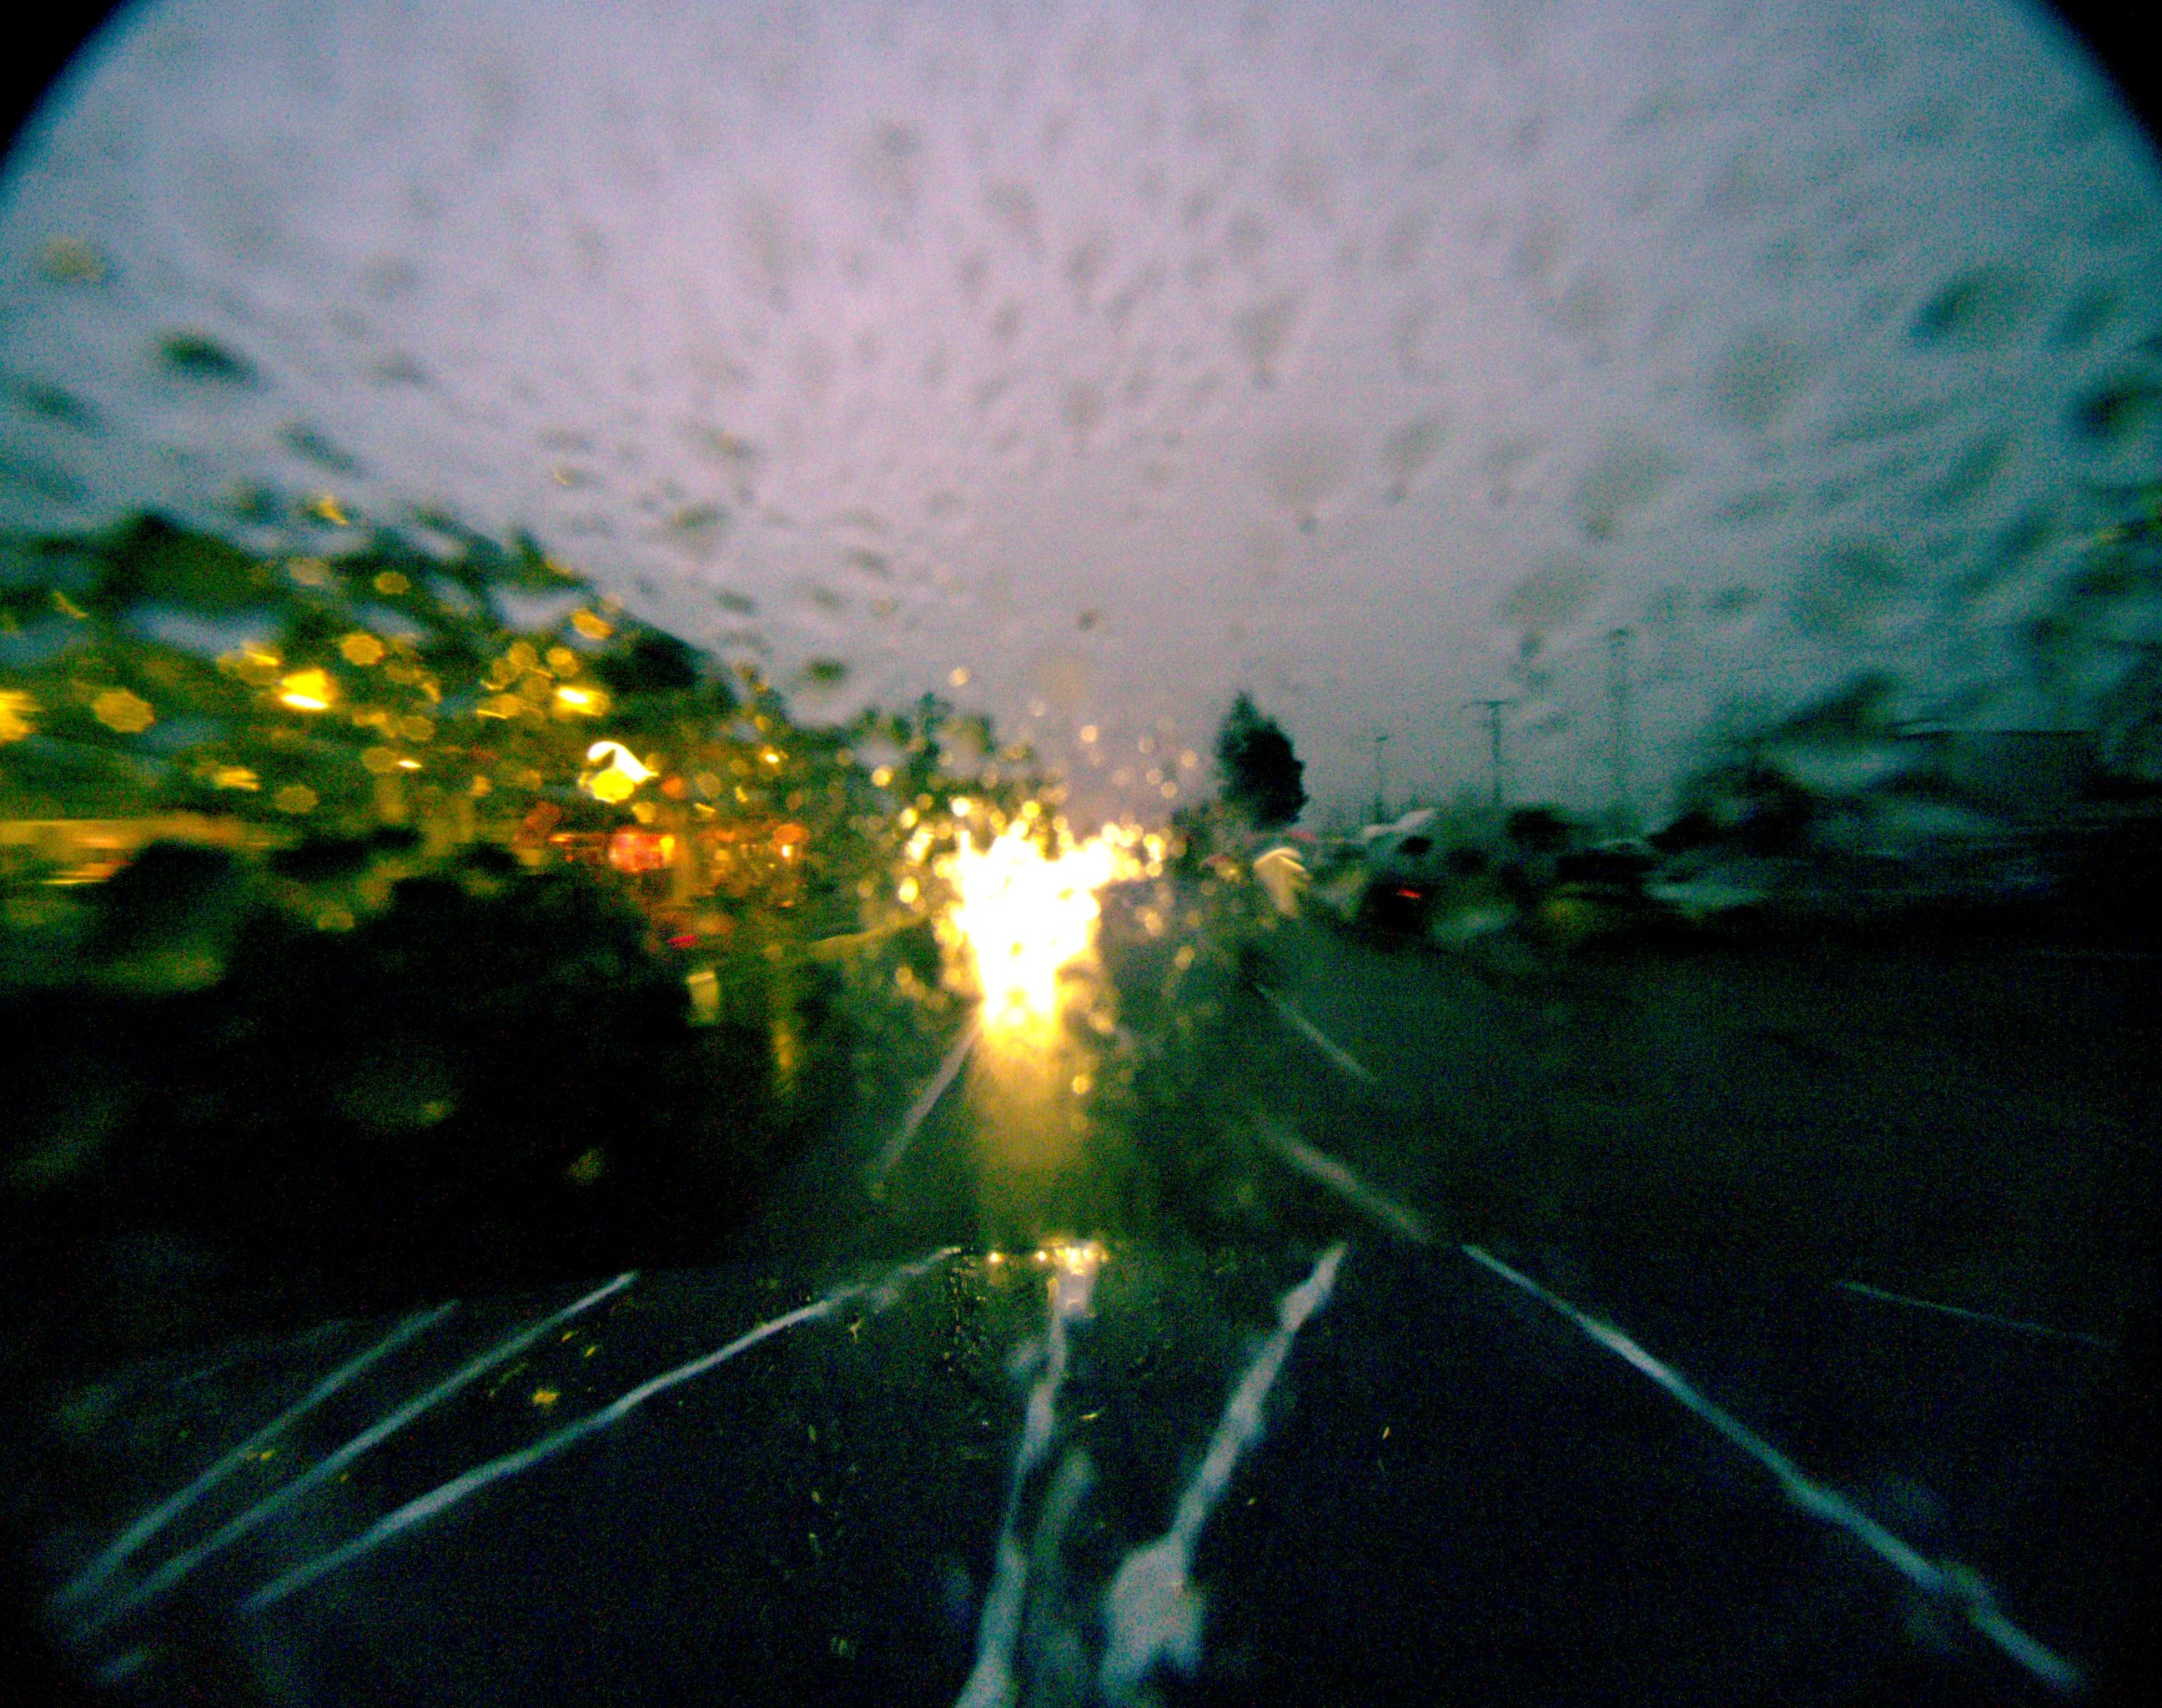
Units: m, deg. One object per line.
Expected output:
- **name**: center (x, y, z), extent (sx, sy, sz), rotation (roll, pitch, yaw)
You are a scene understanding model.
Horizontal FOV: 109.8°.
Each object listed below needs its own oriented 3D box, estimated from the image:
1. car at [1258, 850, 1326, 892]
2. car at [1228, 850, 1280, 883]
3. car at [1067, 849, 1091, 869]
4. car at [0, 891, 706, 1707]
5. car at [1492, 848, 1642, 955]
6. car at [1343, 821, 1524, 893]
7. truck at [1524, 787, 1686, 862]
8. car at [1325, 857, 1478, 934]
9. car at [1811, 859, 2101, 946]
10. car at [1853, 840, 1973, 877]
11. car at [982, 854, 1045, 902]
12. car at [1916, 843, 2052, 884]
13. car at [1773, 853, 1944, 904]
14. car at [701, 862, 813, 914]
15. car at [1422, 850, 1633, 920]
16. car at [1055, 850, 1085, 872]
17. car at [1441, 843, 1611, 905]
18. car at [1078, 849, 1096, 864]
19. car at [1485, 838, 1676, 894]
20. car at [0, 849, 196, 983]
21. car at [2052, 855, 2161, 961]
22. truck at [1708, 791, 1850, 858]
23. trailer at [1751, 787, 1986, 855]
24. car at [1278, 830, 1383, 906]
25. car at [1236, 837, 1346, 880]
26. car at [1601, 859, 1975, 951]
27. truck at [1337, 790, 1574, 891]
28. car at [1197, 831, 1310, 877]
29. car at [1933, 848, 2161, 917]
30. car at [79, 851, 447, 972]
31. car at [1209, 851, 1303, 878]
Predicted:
- **car**: center (7.648, 0.580, 27.863), extent (1.653, 1.404, 3.841), rotation (-1, 0, 4)
- **car**: center (7.835, 0.589, 34.680), extent (1.655, 1.411, 3.743), rotation (-1, -1, 2)
- **car**: center (-0.149, 0.439, 68.183), extent (1.889, 1.618, 4.000), rotation (-2, 0, 2)
- **car**: center (-2.939, 1.008, 2.173), extent (1.569, 1.520, 4.006), rotation (-2, 1, 2)
- **car**: center (8.254, 0.724, 13.145), extent (1.174, 1.635, 2.872), rotation (0, 0, 10)
- **car**: center (13.626, 0.122, 29.669), extent (6.047, 2.623, 2.195), rotation (-1, 1, -1)
- **truck**: center (33.251, -1.880, 48.312), extent (8.714, 4.237, 3.004), rotation (-3, 1, -9)
- **car**: center (6.925, 0.813, 16.925), extent (1.574, 1.314, 4.254), rotation (0, 2, 0)
- **car**: center (16.450, 0.816, 14.601), extent (1.670, 1.390, 3.648), rotation (0, 1, 9)
- **car**: center (29.336, 0.145, 26.839), extent (2.808, 1.193, 1.344), rotation (-1, 1, -2)
- **car**: center (-2.332, 0.786, 27.188), extent (2.016, 1.484, 3.998), rotation (-2, 0, -3)
- **car**: center (28.848, 0.290, 24.317), extent (2.808, 1.211, 1.344), rotation (-1, 1, -2)
- **car**: center (21.772, 0.641, 21.439), extent (1.411, 1.324, 3.166), rotation (0, 0, -7)
- **car**: center (-9.840, 0.985, 23.435), extent (1.576, 1.388, 4.168), rotation (0, 0, 1)
- **car**: center (10.489, 0.691, 18.076), extent (3.919, 1.469, 1.810), rotation (1, 1, 1)
- **car**: center (-0.845, 0.454, 55.058), extent (2.016, 1.484, 3.998), rotation (-1, 0, -3)
- **car**: center (13.655, 0.588, 23.485), extent (4.060, 1.723, 2.024), rotation (-2, 1, -2)
- **car**: center (0.682, 0.284, 85.453), extent (1.890, 1.618, 3.999), rotation (-2, 0, 0)
- **car**: center (13.640, 0.311, 20.907), extent (4.060, 1.369, 1.814), rotation (-2, 1, -2)
- **car**: center (-17.237, 0.956, 11.880), extent (1.998, 2.002, 4.000), rotation (-2, 1, 1)
- **car**: center (17.096, 0.783, 11.640), extent (3.168, 1.539, 1.349), rotation (0, 0, -8)
- **truck**: center (30.557, -1.277, 33.326), extent (4.726, 2.681, 2.232), rotation (-2, 1, -13)
- **trailer**: center (35.773, -1.488, 34.486), extent (10.510, 2.658, 2.217), rotation (-2, 1, -13)
- **car**: center (7.272, 0.365, 22.622), extent (1.839, 2.002, 4.484), rotation (-1, 1, 4)
- **car**: center (10.842, 0.231, 39.576), extent (5.158, 2.138, 2.058), rotation (0, 0, 1)
- **car**: center (11.928, 0.827, 13.053), extent (4.767, 1.429, 1.783), rotation (0, 1, 0)
- **truck**: center (12.556, -0.446, 25.855), extent (6.876, 3.124, 2.334), rotation (-1, 1, 0)
- **car**: center (10.038, 0.008, 44.562), extent (6.171, 2.617, 2.176), rotation (0, 0, 1)
- **car**: center (20.810, 0.564, 16.281), extent (1.411, 1.324, 3.166), rotation (0, 0, -7)
- **car**: center (-14.485, 0.886, 13.937), extent (1.998, 1.848, 4.298), rotation (0, 1, 1)
- **car**: center (9.647, 0.572, 42.171), extent (4.760, 1.474, 1.955), rotation (0, 0, 1)
